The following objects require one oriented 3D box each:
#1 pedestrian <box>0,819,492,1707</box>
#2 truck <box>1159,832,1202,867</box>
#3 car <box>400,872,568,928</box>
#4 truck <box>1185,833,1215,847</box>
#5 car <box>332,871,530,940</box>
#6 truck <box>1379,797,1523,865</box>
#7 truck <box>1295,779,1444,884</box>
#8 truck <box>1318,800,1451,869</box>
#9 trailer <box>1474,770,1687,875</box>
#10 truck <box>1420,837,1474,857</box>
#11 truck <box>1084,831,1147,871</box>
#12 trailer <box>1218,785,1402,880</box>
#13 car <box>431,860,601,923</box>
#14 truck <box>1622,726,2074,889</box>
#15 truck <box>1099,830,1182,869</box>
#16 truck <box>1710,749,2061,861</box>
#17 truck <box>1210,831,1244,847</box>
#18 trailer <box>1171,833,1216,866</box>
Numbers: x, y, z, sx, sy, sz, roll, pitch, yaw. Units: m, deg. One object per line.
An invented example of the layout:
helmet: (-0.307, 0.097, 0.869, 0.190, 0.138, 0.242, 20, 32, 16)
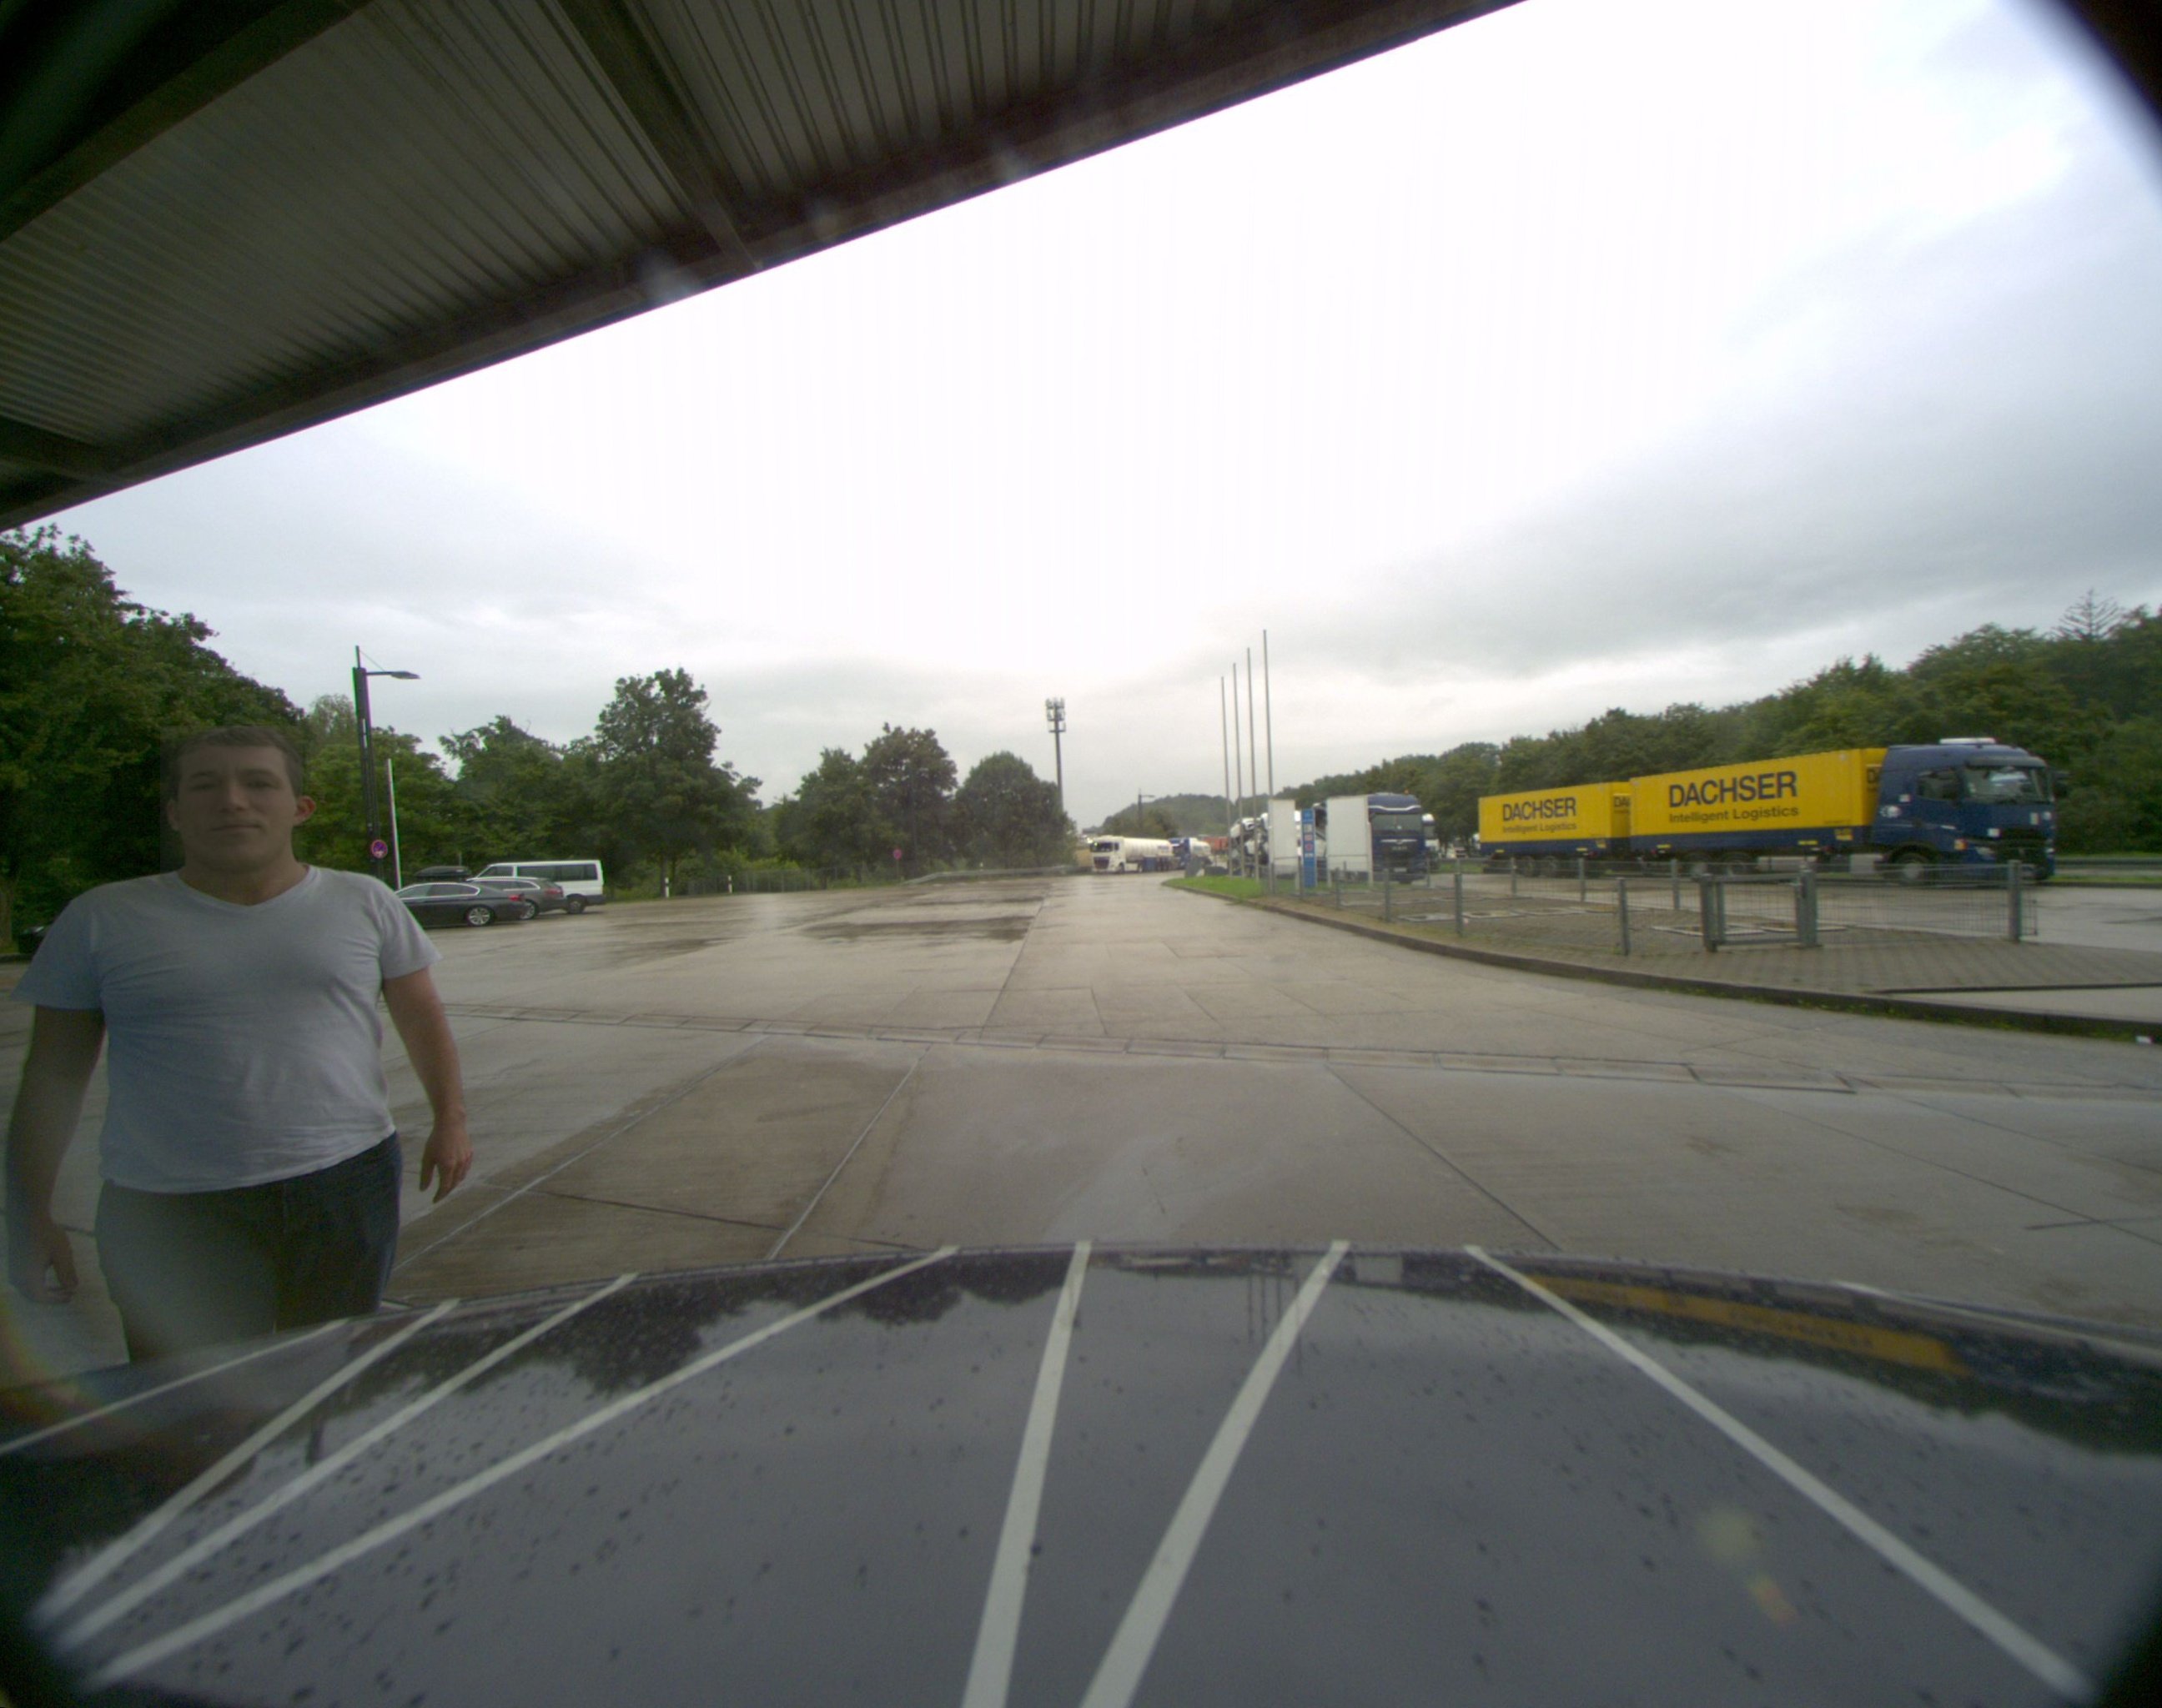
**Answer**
pedestrian: (-1.751, 0.842, 1.522, 0.493, 1.800, 0.634, -2, 2, 10)
truck: (11.323, -0.526, 85.745, 3.045, 3.745, 6.475, -2, 1, 23)
car: (-19.658, 1.451, 25.293, 4.187, 1.547, 1.995, -2, 0, -33)
truck: (30.952, -3.587, 198.358, 3.251, 3.543, 16.548, -2, 1, -7)
car: (-19.127, 1.448, 22.653, 4.187, 1.720, 1.995, -2, 0, -33)
truck: (24.357, -1.401, 50.967, 2.991, 4.009, 10.464, -2, 1, -10)
truck: (12.298, -0.921, 33.259, 2.990, 4.009, 7.259, -2, 1, -7)
truck: (19.754, -1.218, 50.443, 2.991, 4.009, 10.464, -2, 1, -10)
trailer: (21.779, -1.272, 34.003, 2.774, 4.009, 8.853, -2, 1, -8)
truck: (45.328, -0.837, 94.244, 3.135, 2.290, 6.172, -2, 0, -7)
truck: (3.311, -0.358, 71.449, 3.243, 3.544, 6.114, -2, 1, 31)
trailer: (11.369, -0.998, 40.950, 2.990, 4.009, 16.597, -2, 1, -7)
car: (-20.478, 1.286, 27.773, 4.780, 1.974, 2.010, -2, 0, -36)
truck: (23.056, -1.210, 24.320, 2.774, 4.009, 10.632, -2, 1, -8)
truck: (6.195, -0.525, 76.361, 3.243, 3.544, 11.995, -2, 1, 31)
truck: (33.768, -1.843, 32.943, 2.991, 4.009, 10.464, -2, 1, -10)
truck: (33.652, -3.430, 175.897, 3.251, 3.544, 14.655, -1, 1, -7)
trailer: (13.663, -0.654, 91.452, 2.898, 3.618, 10.586, -2, 1, 22)
